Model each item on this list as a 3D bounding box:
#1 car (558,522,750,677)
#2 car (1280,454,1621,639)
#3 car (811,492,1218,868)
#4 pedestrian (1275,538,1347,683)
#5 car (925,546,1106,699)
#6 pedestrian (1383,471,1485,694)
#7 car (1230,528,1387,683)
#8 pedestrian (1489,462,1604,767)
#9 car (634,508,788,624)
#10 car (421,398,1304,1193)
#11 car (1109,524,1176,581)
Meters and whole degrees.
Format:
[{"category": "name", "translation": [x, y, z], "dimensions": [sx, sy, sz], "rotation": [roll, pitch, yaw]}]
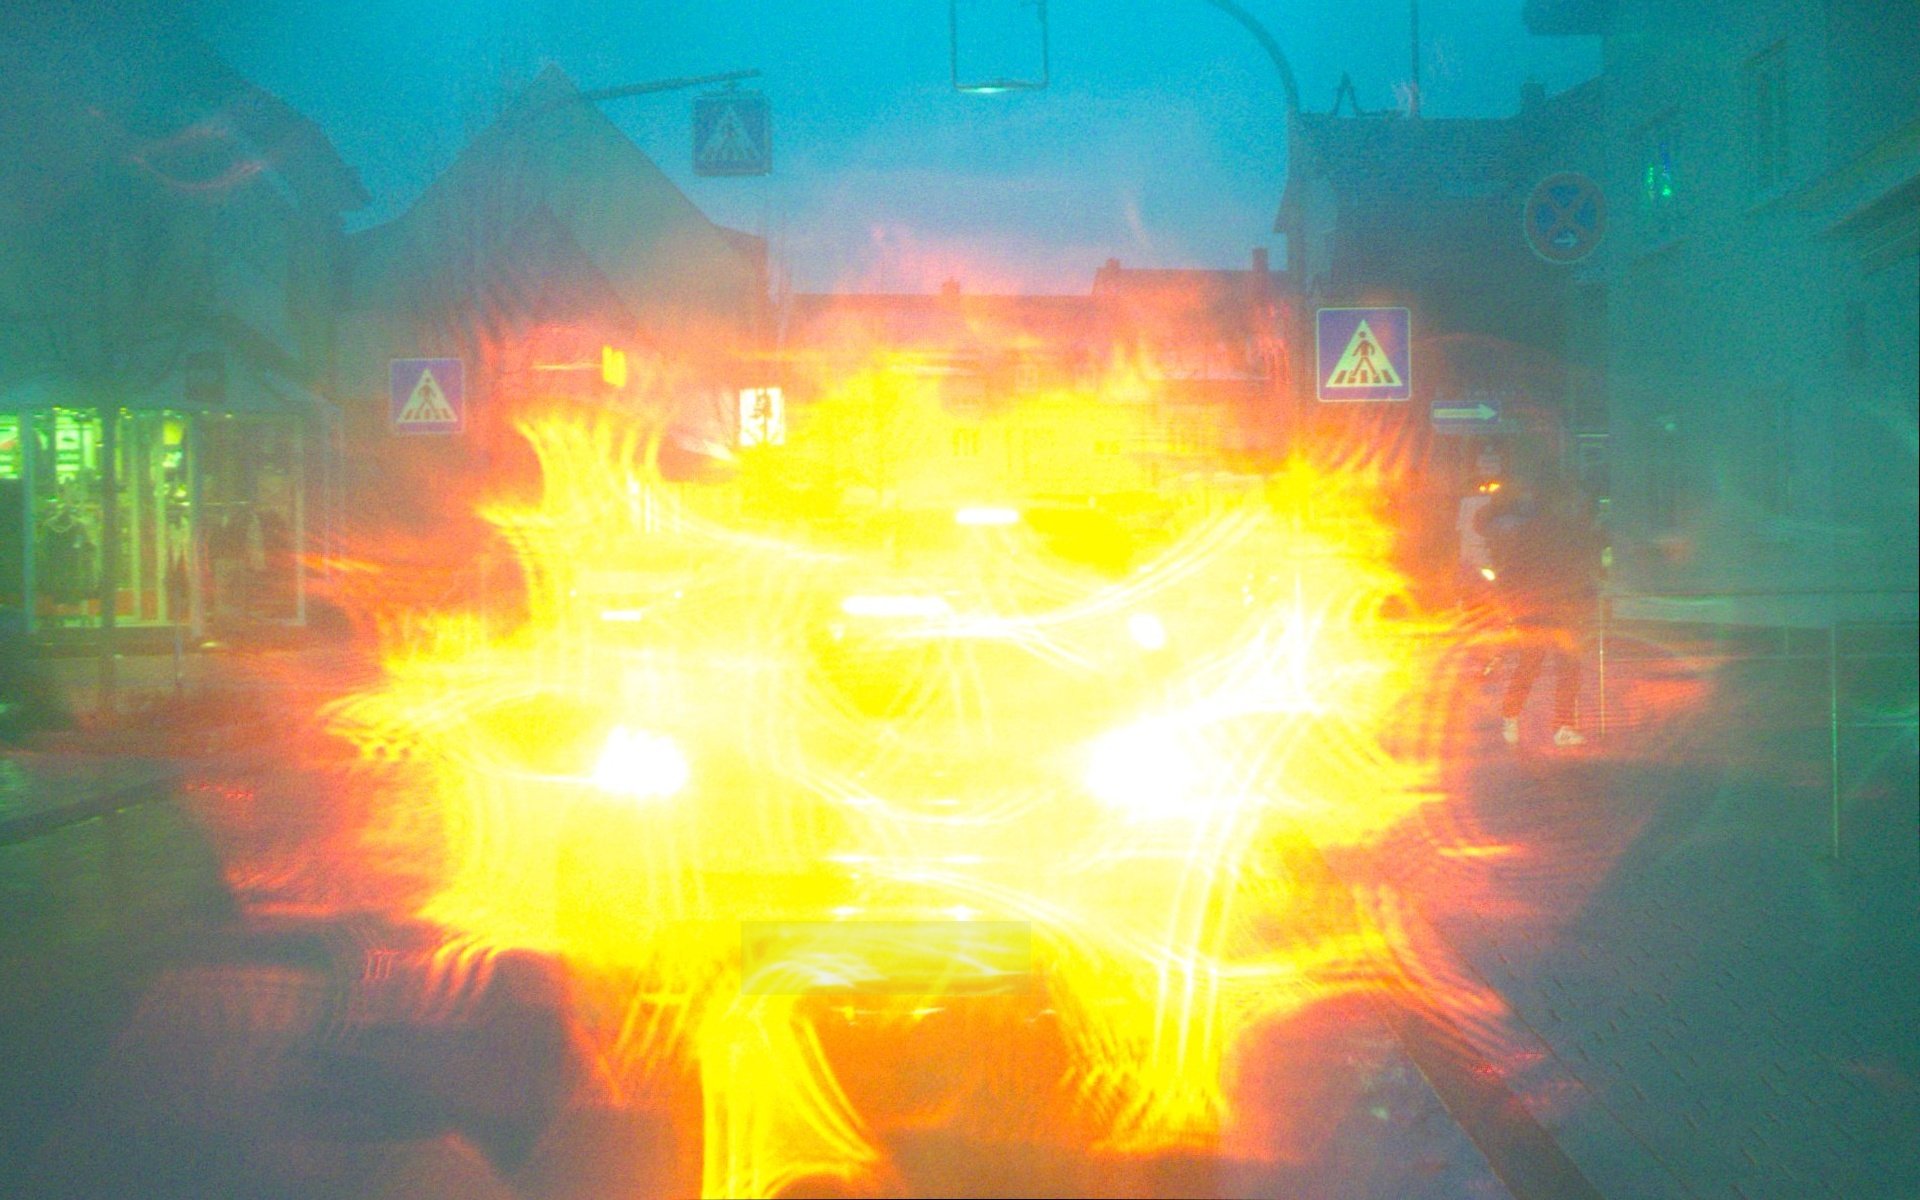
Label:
[{"category": "car", "translation": [-4.090, -0.041, 46.643], "dimensions": [1.994, 2.007, 4.361], "rotation": [0, 1, 3]}, {"category": "car", "translation": [5.485, -0.601, 38.784], "dimensions": [3.697, 2.007, 1.689], "rotation": [1, 0, 5]}, {"category": "car", "translation": [0.328, 0.331, 17.280], "dimensions": [1.798, 1.656, 4.000], "rotation": [0, 1, 3]}, {"category": "pedestrian", "translation": [2.990, 0.088, 29.332], "dimensions": [0.553, 1.229, 0.434], "rotation": [0, 1, -2]}, {"category": "car", "translation": [0.675, 0.199, 38.333], "dimensions": [1.827, 1.596, 4.581], "rotation": [0, 1, 3]}, {"category": "pedestrian", "translation": [4.032, -0.159, 29.299], "dimensions": [0.703, 1.870, 0.617], "rotation": [1, 2, -4]}, {"category": "car", "translation": [4.811, 0.033, 47.869], "dimensions": [1.641, 2.007, 4.001], "rotation": [-2, 1, -1]}, {"category": "pedestrian", "translation": [3.700, 0.085, 21.739], "dimensions": [0.663, 1.881, 0.824], "rotation": [1, 0, 8]}, {"category": "car", "translation": [-3.871, -0.547, 54.059], "dimensions": [1.993, 1.746, 4.361], "rotation": [0, 1, 2]}, {"category": "car", "translation": [-0.064, 0.377, 10.107], "dimensions": [1.994, 1.789, 4.648], "rotation": [0, 2, 4]}, {"category": "car", "translation": [4.662, -1.235, 88.325], "dimensions": [1.534, 1.241, 3.647], "rotation": [-5, 2, 2]}]
